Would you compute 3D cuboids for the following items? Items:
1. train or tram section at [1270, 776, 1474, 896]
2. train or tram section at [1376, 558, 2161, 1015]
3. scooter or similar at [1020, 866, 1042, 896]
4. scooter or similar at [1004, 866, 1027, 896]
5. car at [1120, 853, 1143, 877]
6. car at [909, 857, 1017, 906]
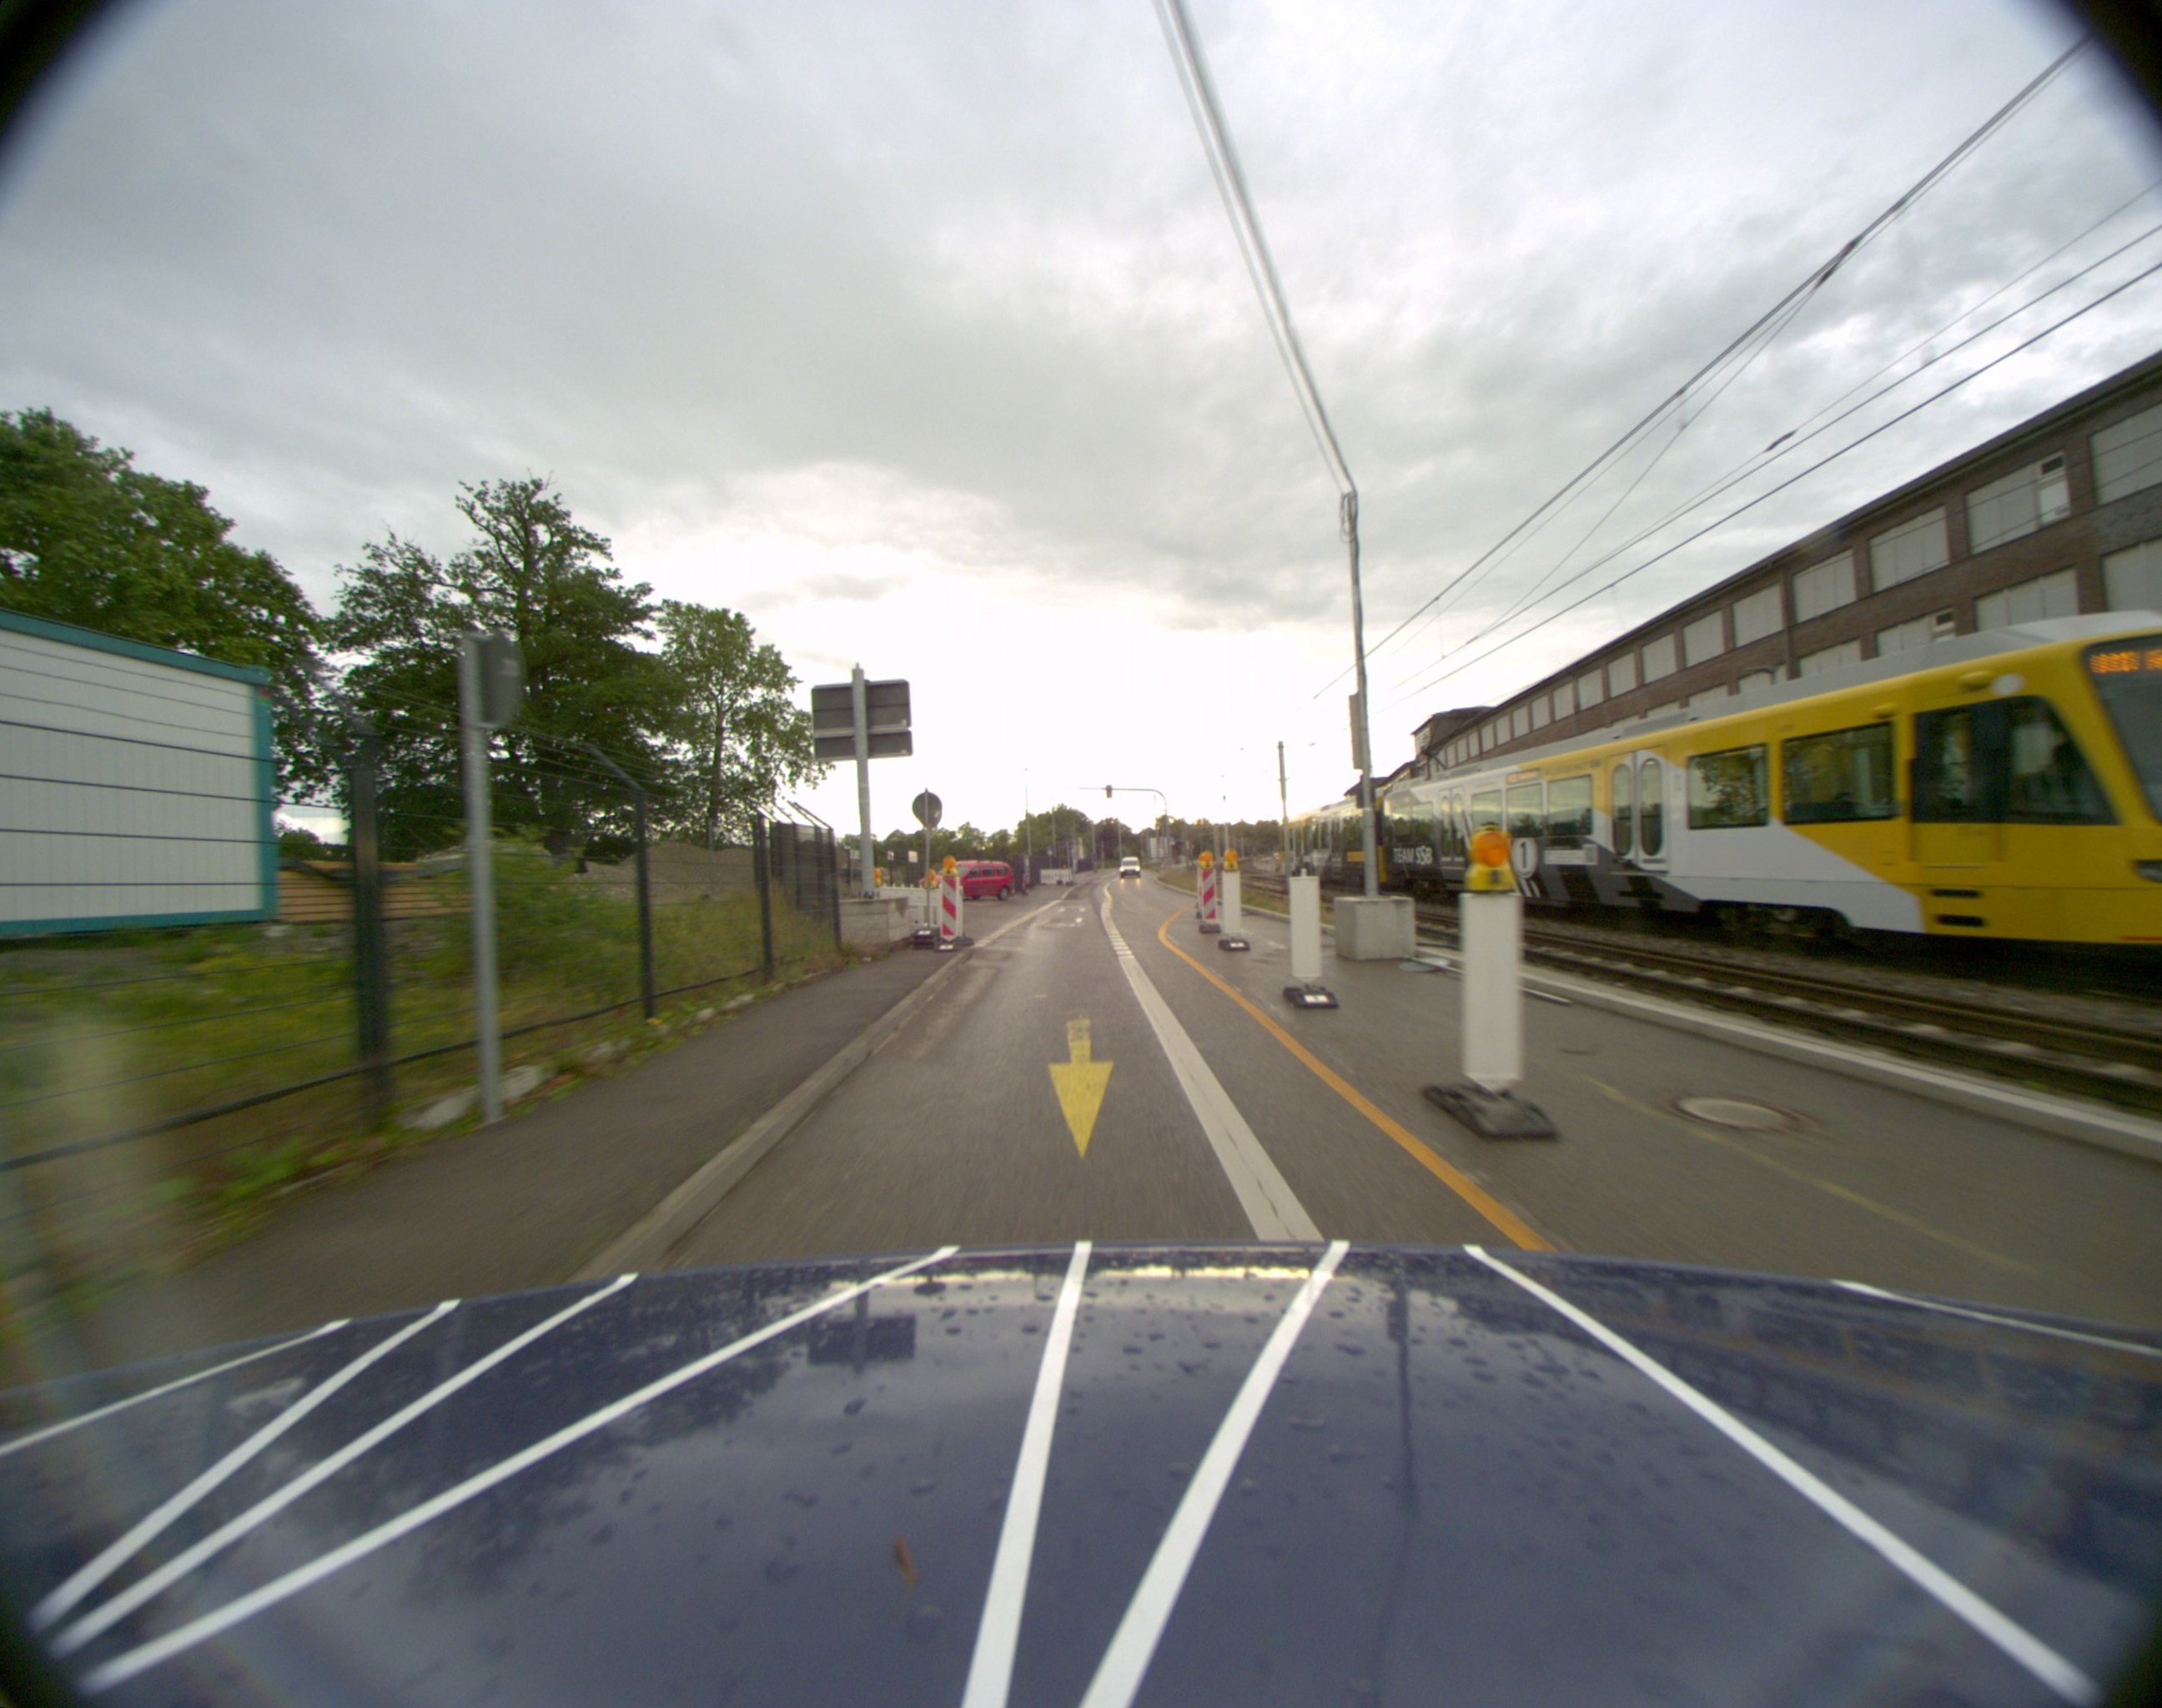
[{"bbox_3d":[12.205,-0.591,35.337,2.962,3.863,19.577,-4,0,4],"label":"train or tram section"},{"bbox_3d":[11.087,-0.621,15.909,2.962,3.863,19.294,-4,0,3],"label":"train or tram section"},{"bbox_3d":[-2.369,1.276,36.189,0.616,1.343,1.913,-2,0,9],"label":"scooter or similar"},{"bbox_3d":[-3.138,1.273,36.596,0.616,1.343,1.913,-2,0,9],"label":"scooter or similar"},{"bbox_3d":[4.604,0.978,69.727,1.998,2.002,4.000,-1,1,2],"label":"car"},{"bbox_3d":[-4.741,1.086,31.173,1.820,1.783,4.417,-2,0,34],"label":"car"}]
